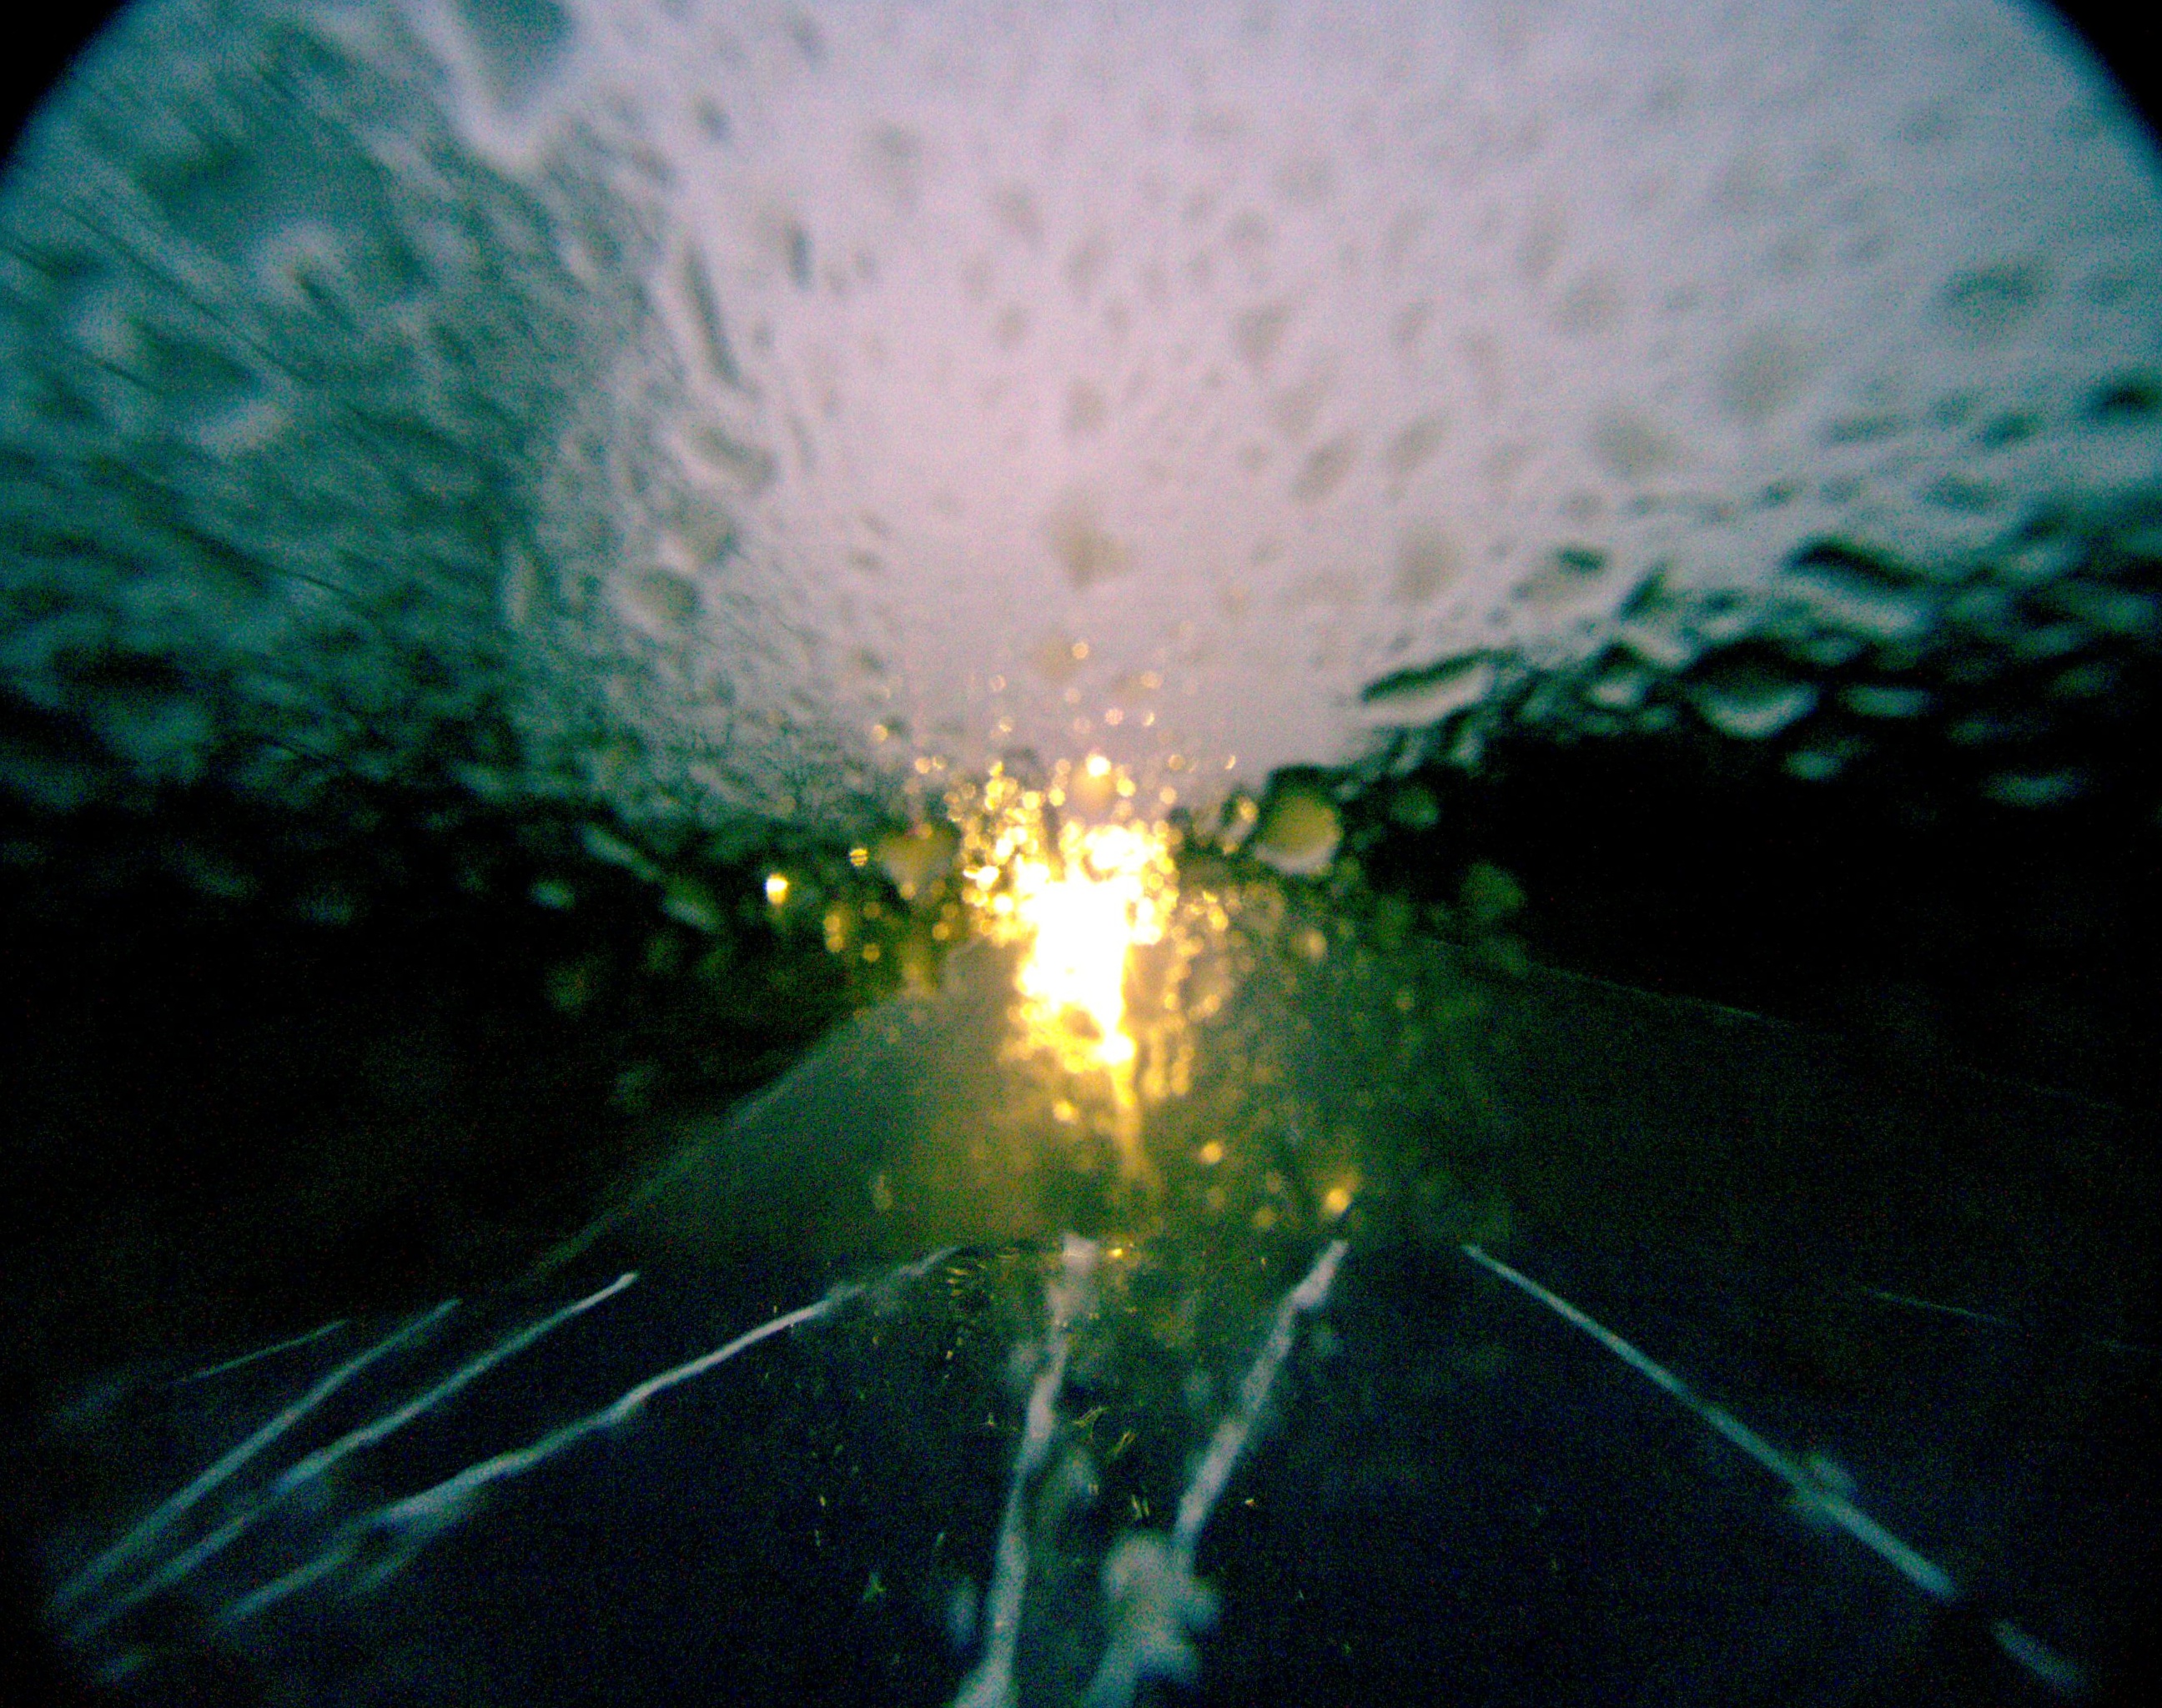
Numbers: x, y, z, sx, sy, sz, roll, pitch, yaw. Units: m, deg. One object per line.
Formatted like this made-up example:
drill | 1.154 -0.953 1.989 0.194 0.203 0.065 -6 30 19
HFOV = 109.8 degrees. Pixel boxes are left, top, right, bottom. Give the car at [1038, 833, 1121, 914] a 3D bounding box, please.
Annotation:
car | 0.066 0.533 23.303 1.952 2.195 4.537 -2 0 7
